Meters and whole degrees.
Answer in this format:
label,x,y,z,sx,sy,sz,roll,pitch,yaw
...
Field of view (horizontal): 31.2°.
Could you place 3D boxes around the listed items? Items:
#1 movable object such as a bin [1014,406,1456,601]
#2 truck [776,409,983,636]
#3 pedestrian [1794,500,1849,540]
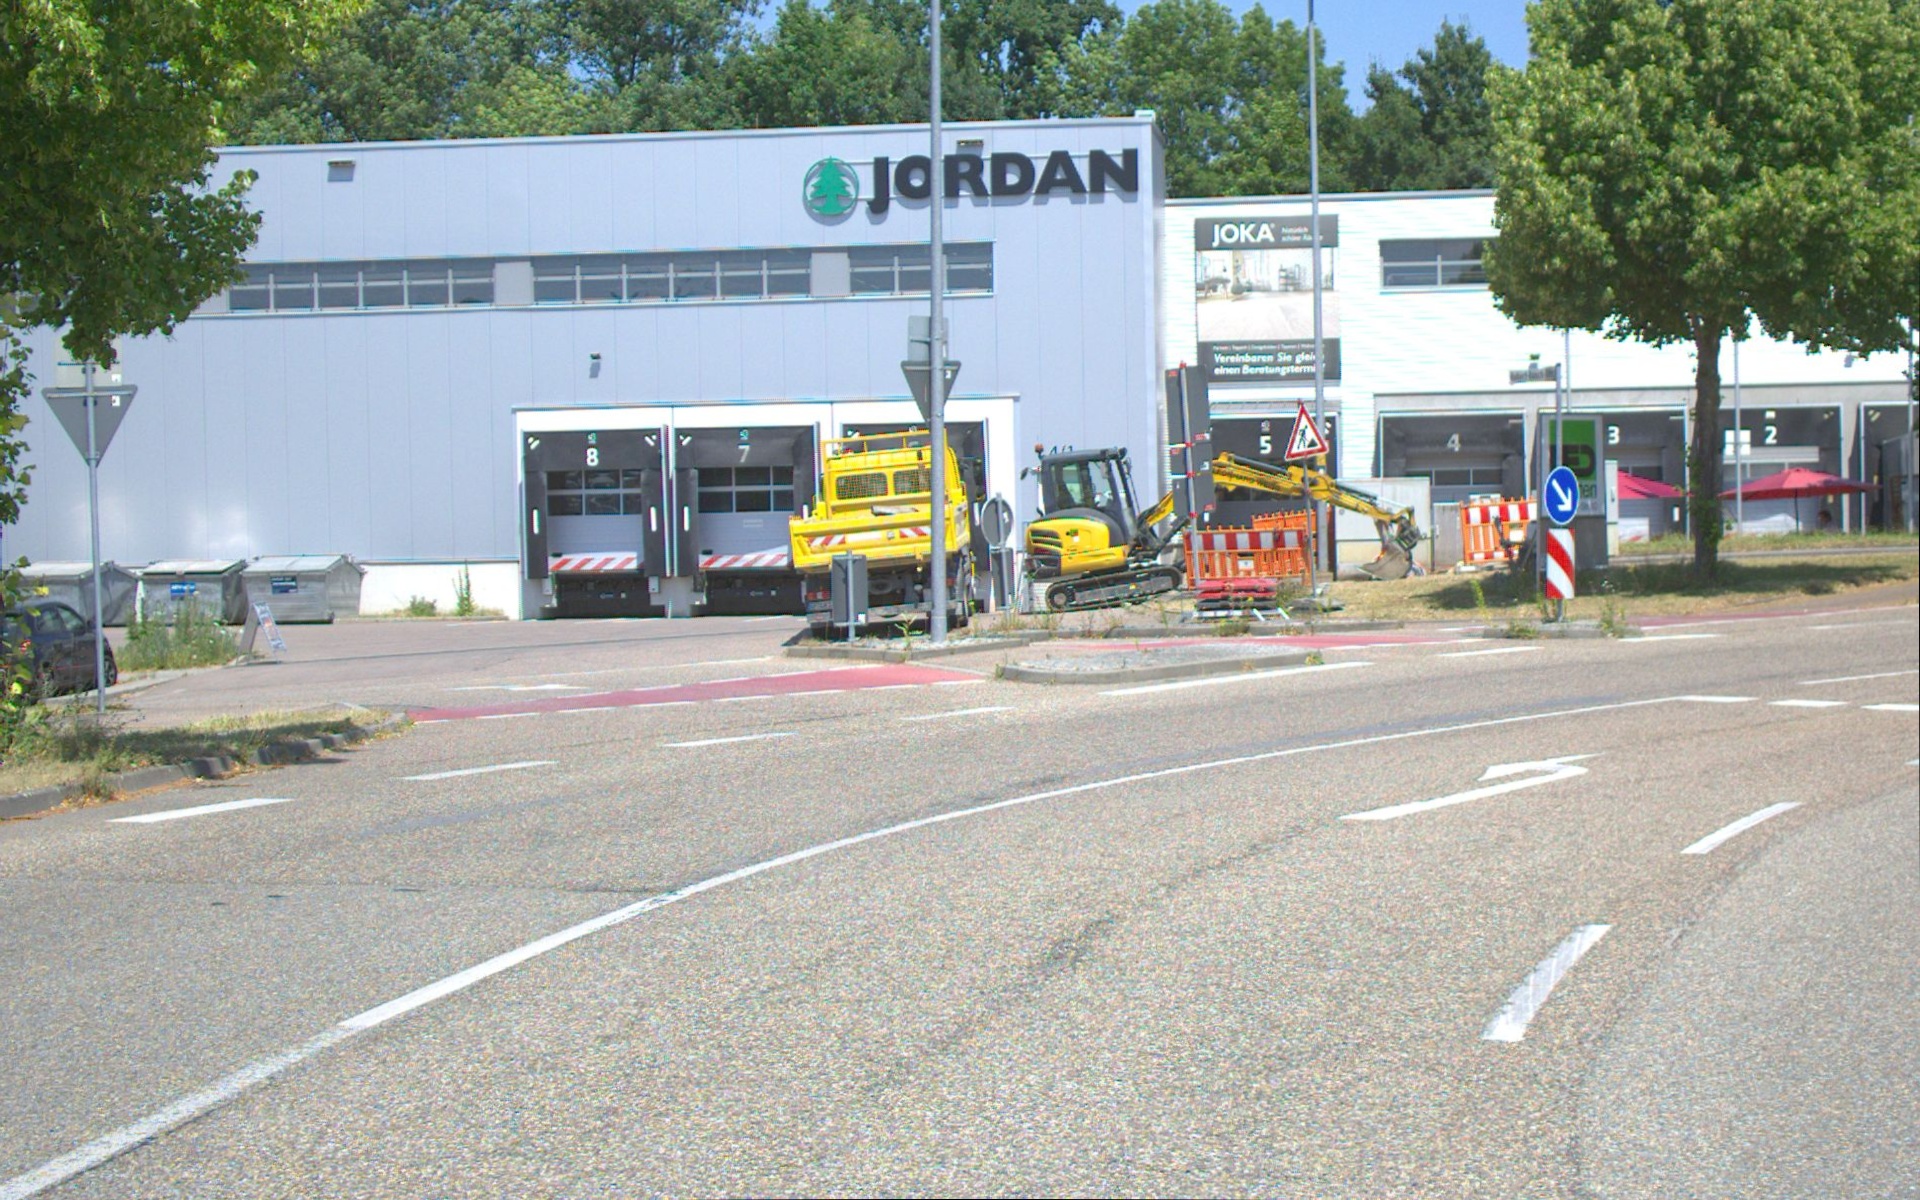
label,x,y,z,sx,sy,sz,roll,pitch,yaw
movable object such as a bin,4.318,-1.488,53.772,6.559,2.572,1.999,-3,0,12
truck,-1.168,-1.316,53.790,2.587,3.125,6.425,-4,3,3
pedestrian,15.701,-1.451,62.634,0.865,0.693,0.407,-2,1,30
